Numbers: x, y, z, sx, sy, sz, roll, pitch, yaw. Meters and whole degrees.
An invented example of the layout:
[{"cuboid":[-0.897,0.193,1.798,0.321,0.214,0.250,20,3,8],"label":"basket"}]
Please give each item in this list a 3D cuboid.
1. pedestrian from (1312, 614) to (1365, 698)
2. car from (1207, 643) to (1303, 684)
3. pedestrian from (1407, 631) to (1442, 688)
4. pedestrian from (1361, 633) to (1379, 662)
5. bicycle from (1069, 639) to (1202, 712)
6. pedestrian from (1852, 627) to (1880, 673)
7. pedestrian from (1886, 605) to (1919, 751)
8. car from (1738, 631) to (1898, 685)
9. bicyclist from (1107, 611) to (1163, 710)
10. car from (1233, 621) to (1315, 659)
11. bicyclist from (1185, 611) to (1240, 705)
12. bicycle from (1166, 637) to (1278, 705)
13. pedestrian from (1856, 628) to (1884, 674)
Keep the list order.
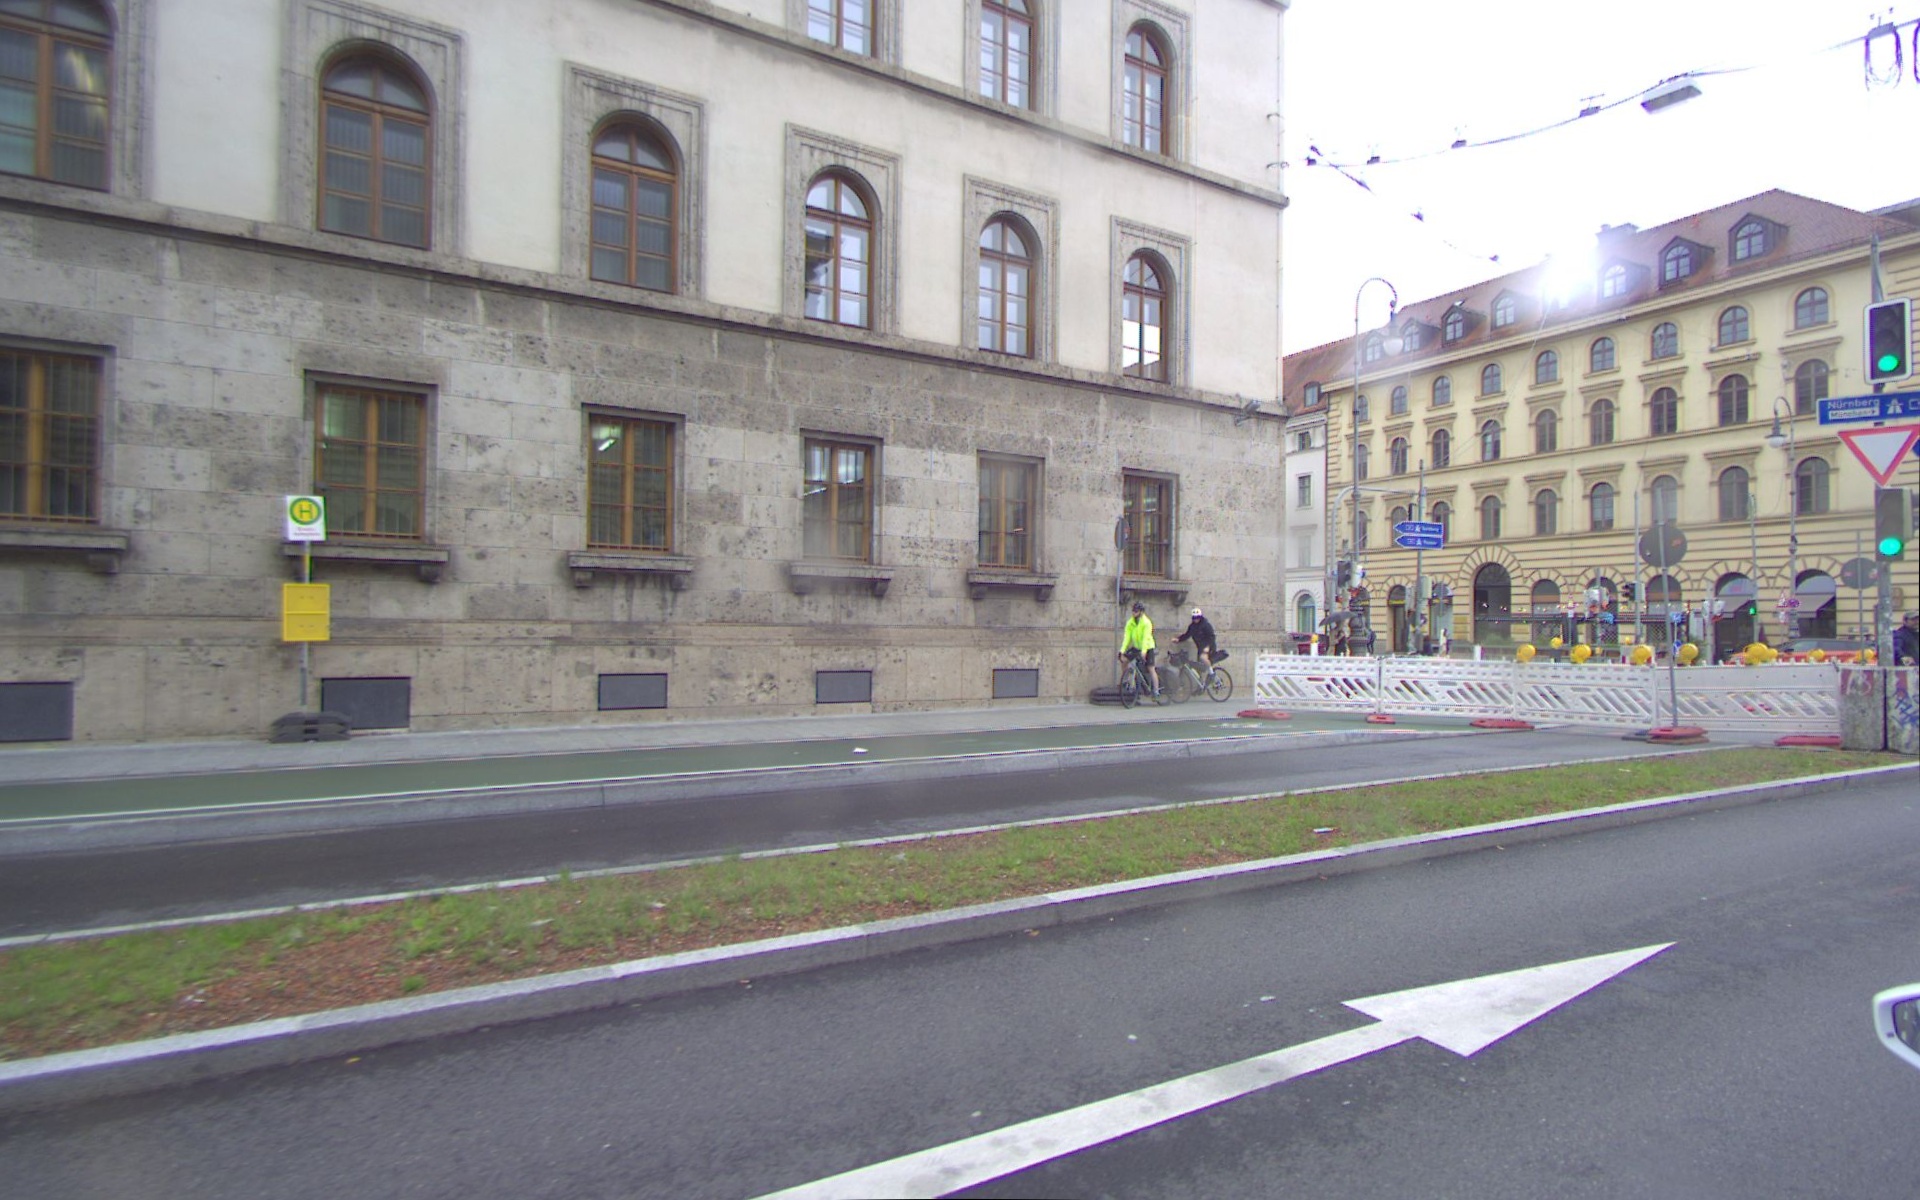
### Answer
[{"cuboid":[8.357,1.214,22.193,0.728,1.795,0.843,1,0,-19],"label":"pedestrian"},{"cuboid":[13.383,2.832,45.785,1.976,1.706,3.969,1,-2,-29],"label":"car"},{"cuboid":[14.885,1.891,32.203,0.727,1.795,0.733,1,0,-29],"label":"pedestrian"},{"cuboid":[25.748,3.004,63.116,0.730,1.795,0.730,1,-1,-30],"label":"pedestrian"},{"cuboid":[3.253,1.373,18.579,2.416,1.259,0.784,1,0,-26],"label":"bicycle"},{"cuboid":[36.116,1.976,40.022,0.733,1.795,0.728,1,0,-40],"label":"pedestrian"},{"cuboid":[12.004,0.953,12.553,1.035,1.766,0.508,1,-1,-40],"label":"pedestrian"},{"cuboid":[29.315,1.943,34.497,3.932,1.742,1.819,-1,-2,33],"label":"car"},{"cuboid":[3.230,1.093,18.567,0.679,1.772,0.795,1,0,-26],"label":"bicyclist"},{"cuboid":[15.769,1.988,50.567,1.847,1.822,3.722,1,-2,-31],"label":"car"},{"cuboid":[4.966,1.129,19.778,0.679,1.799,0.795,1,0,-26],"label":"bicyclist"},{"cuboid":[5.198,1.380,19.898,2.170,1.259,0.784,1,0,-26],"label":"bicycle"},{"cuboid":[36.678,2.052,40.496,0.733,1.795,0.728,1,0,-40],"label":"pedestrian"}]
